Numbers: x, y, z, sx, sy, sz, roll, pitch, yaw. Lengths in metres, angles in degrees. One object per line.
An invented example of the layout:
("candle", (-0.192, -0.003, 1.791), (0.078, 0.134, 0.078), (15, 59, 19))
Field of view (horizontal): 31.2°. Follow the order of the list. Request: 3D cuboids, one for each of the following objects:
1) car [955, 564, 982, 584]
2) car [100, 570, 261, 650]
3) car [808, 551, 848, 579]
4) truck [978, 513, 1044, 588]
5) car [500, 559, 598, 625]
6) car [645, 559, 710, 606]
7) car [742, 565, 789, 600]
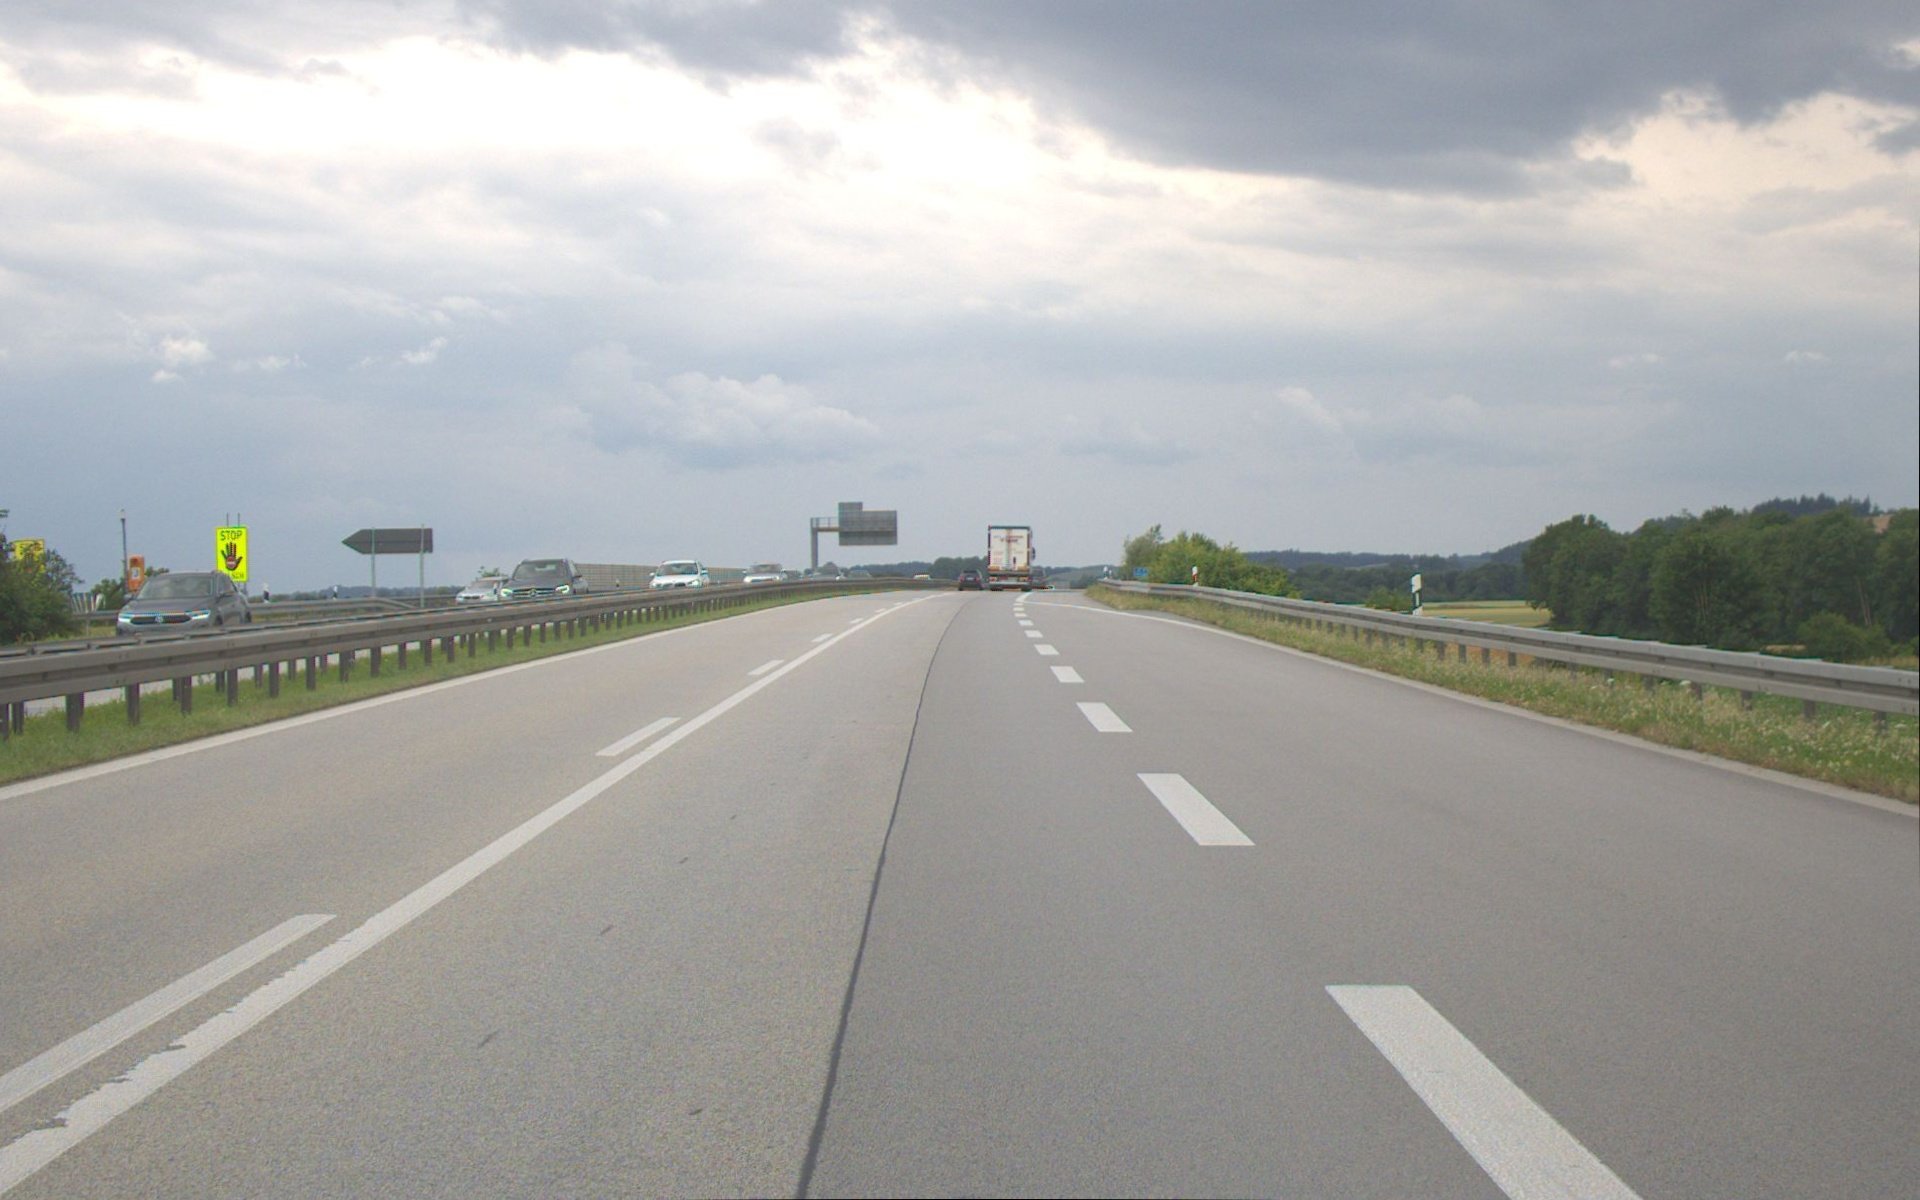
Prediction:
("car", (0.622, -1.916, 252.681), (1.993, 1.415, 4.000), (1, 1, 0))
("car", (-14.273, 0.160, 63.164), (1.825, 1.341, 4.784), (-1, 1, 0))
("car", (-7.920, -2.100, 206.278), (2.136, 1.582, 4.999), (-1, 1, 0))
("truck", (3.368, -3.117, 221.771), (3.673, 4.397, 16.338), (0, -1, 3))
("car", (-10.490, -0.220, 88.063), (1.891, 1.582, 4.762), (-1, 1, 0))
("car", (-9.976, -0.636, 121.588), (1.853, 1.582, 4.817), (-1, 1, 0))
("car", (-9.170, -0.832, 162.357), (1.891, 1.582, 4.762), (-1, 1, 0))
